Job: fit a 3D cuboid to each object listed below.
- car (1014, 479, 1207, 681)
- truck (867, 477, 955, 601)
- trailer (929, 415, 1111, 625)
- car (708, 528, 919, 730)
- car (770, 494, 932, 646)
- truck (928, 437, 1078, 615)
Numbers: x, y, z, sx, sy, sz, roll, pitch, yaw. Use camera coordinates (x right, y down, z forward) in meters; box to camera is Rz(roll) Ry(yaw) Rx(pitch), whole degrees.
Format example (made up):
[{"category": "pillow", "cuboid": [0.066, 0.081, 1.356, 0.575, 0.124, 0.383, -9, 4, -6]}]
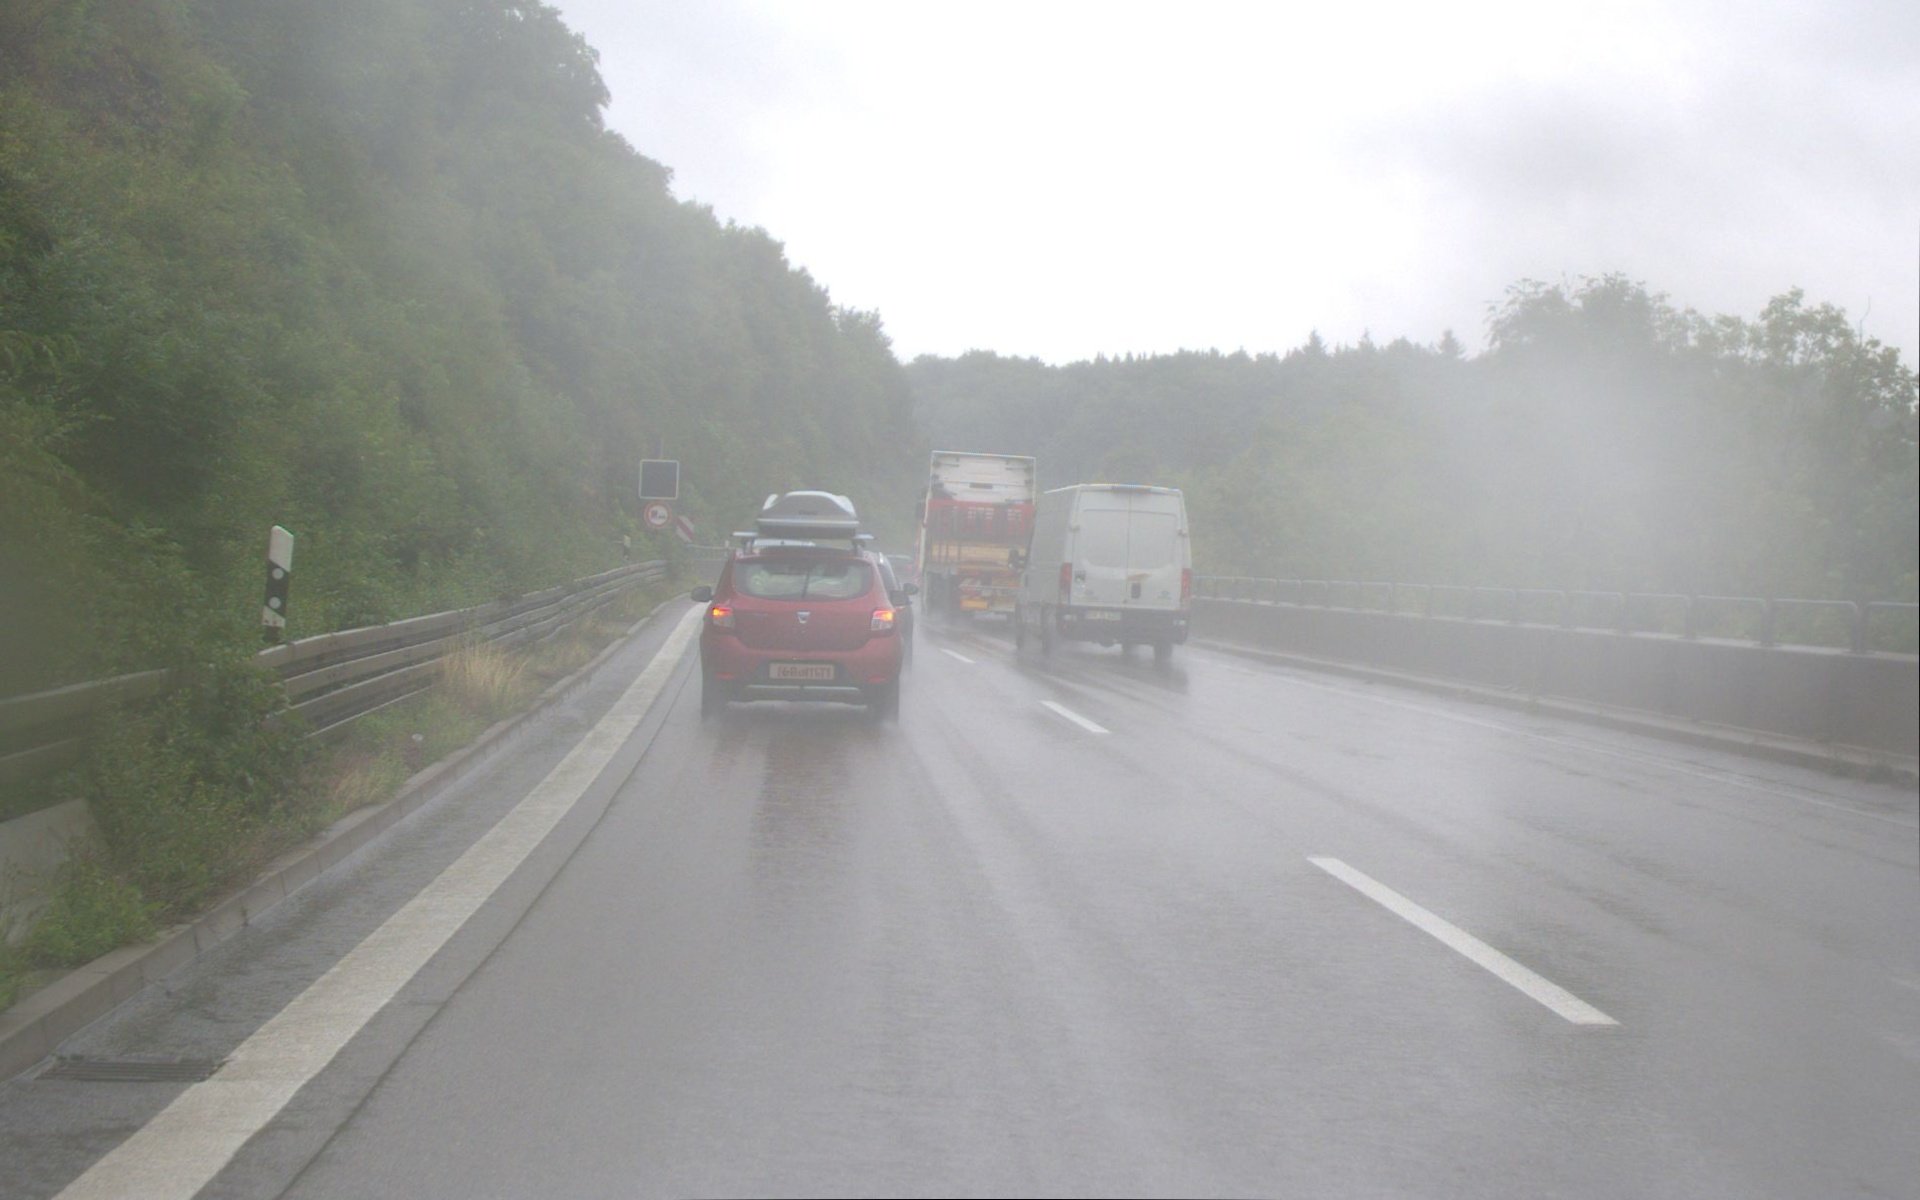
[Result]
[{"category": "car", "cuboid": [2.229, -0.340, 53.297, 2.206, 2.784, 7.383, 4, 1, -2]}, {"category": "truck", "cuboid": [-1.962, -2.338, 134.003, 3.222, 4.666, 8.301, 0, 0, -2]}, {"category": "trailer", "cuboid": [1.117, -1.647, 74.259, 3.218, 3.985, 13.525, 2, 1, -1]}, {"category": "car", "cuboid": [-1.327, 0.230, 30.672, 1.758, 1.679, 4.000, 0, 0, -3]}, {"category": "car", "cuboid": [-1.298, -0.350, 40.643, 1.832, 1.709, 3.645, 0, 0, -2]}, {"category": "truck", "cuboid": [0.965, -1.724, 81.520, 3.219, 3.964, 5.439, 2, 0, -1]}]
